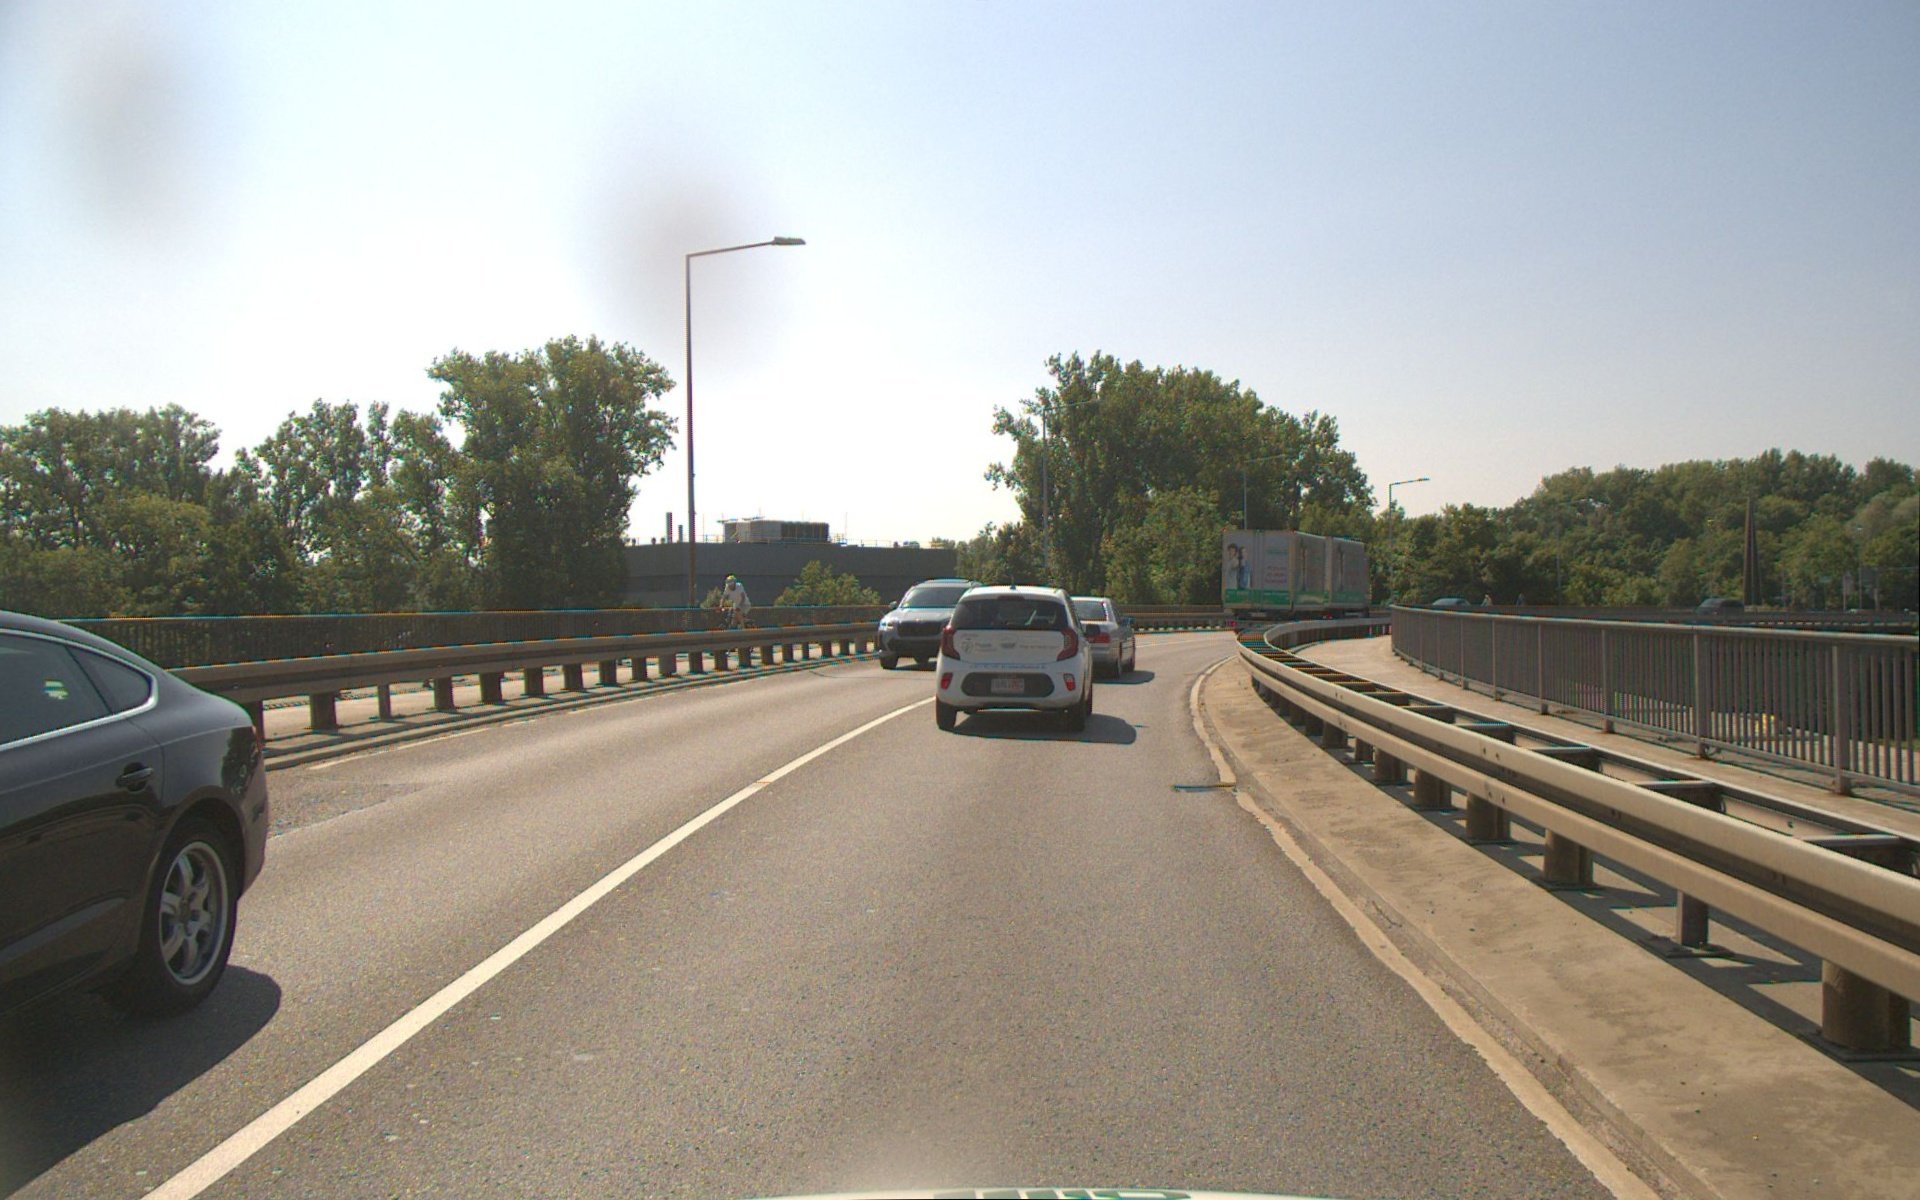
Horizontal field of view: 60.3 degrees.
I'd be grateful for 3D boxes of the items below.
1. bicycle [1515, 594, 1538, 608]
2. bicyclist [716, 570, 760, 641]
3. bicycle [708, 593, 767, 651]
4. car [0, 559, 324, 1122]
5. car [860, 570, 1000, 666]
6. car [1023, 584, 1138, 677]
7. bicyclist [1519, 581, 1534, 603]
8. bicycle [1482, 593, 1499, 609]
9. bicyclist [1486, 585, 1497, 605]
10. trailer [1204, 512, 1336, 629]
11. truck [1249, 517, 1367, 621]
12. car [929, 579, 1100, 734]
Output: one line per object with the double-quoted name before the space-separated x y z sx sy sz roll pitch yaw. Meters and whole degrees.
"bicycle" 39.541 0.066 115.378 0.914 0.906 1.957 1 1 40
"bicyclist" -4.684 0.116 34.984 0.595 1.464 1.079 -2 -1 9
"bicycle" -4.681 0.464 34.931 0.599 1.155 2.151 -3 -1 10
"car" -3.374 0.619 4.213 1.702 1.482 4.300 1 0 2
"car" -0.505 0.349 32.795 1.818 1.712 4.477 2 0 11
"car" 2.234 0.491 30.173 1.898 1.512 4.903 1 1 5
"bicyclist" 39.500 -0.551 115.300 0.650 1.522 1.011 1 2 38
"bicycle" 36.119 0.061 112.542 0.564 1.065 1.703 -2 0 36
"bicyclist" 36.192 -0.330 112.610 0.480 1.352 0.943 1 -1 35
"trailer" 11.280 -1.102 59.504 3.158 3.823 7.825 3 2 21
"truck" 14.198 -1.276 66.916 3.194 3.823 8.371 3 2 22
"car" 0.723 0.545 18.794 1.666 1.520 4.003 2 1 5
